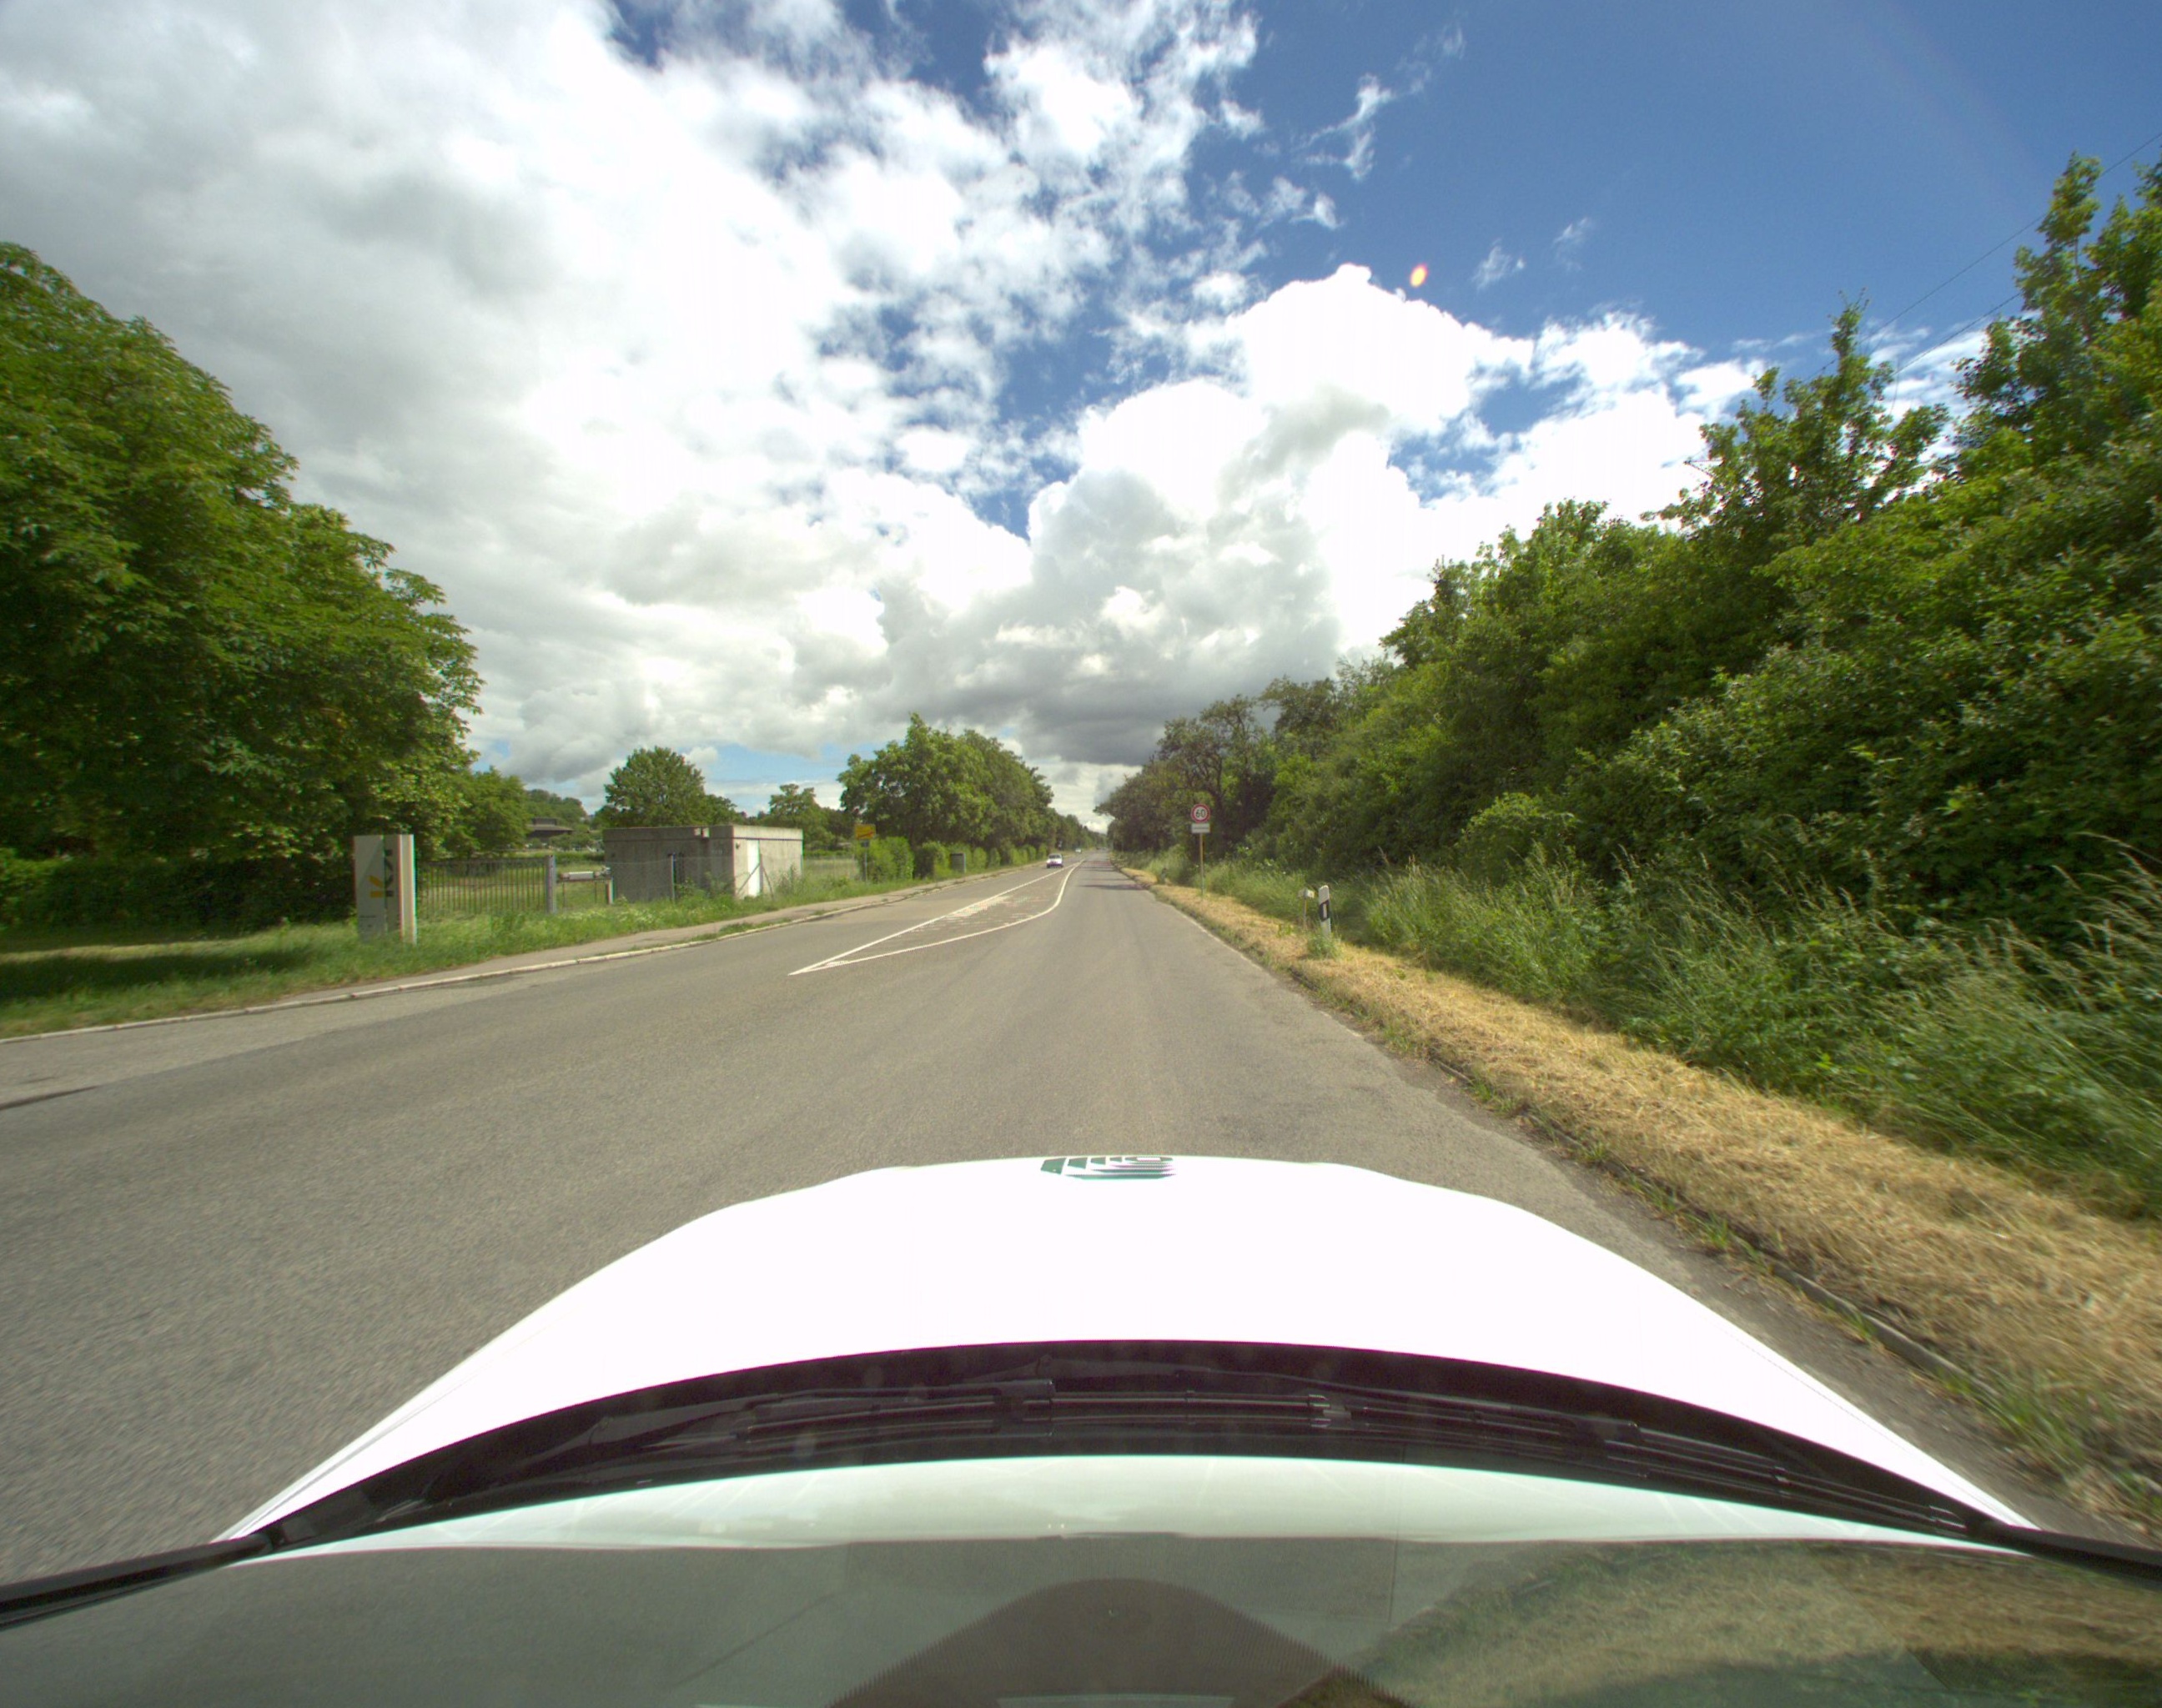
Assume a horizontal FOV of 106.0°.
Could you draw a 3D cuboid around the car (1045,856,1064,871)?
[{"bbox_3d":[-2.669,0.965,83.343,1.654,1.432,3.695,-3,0,2],"label":"car"}]
